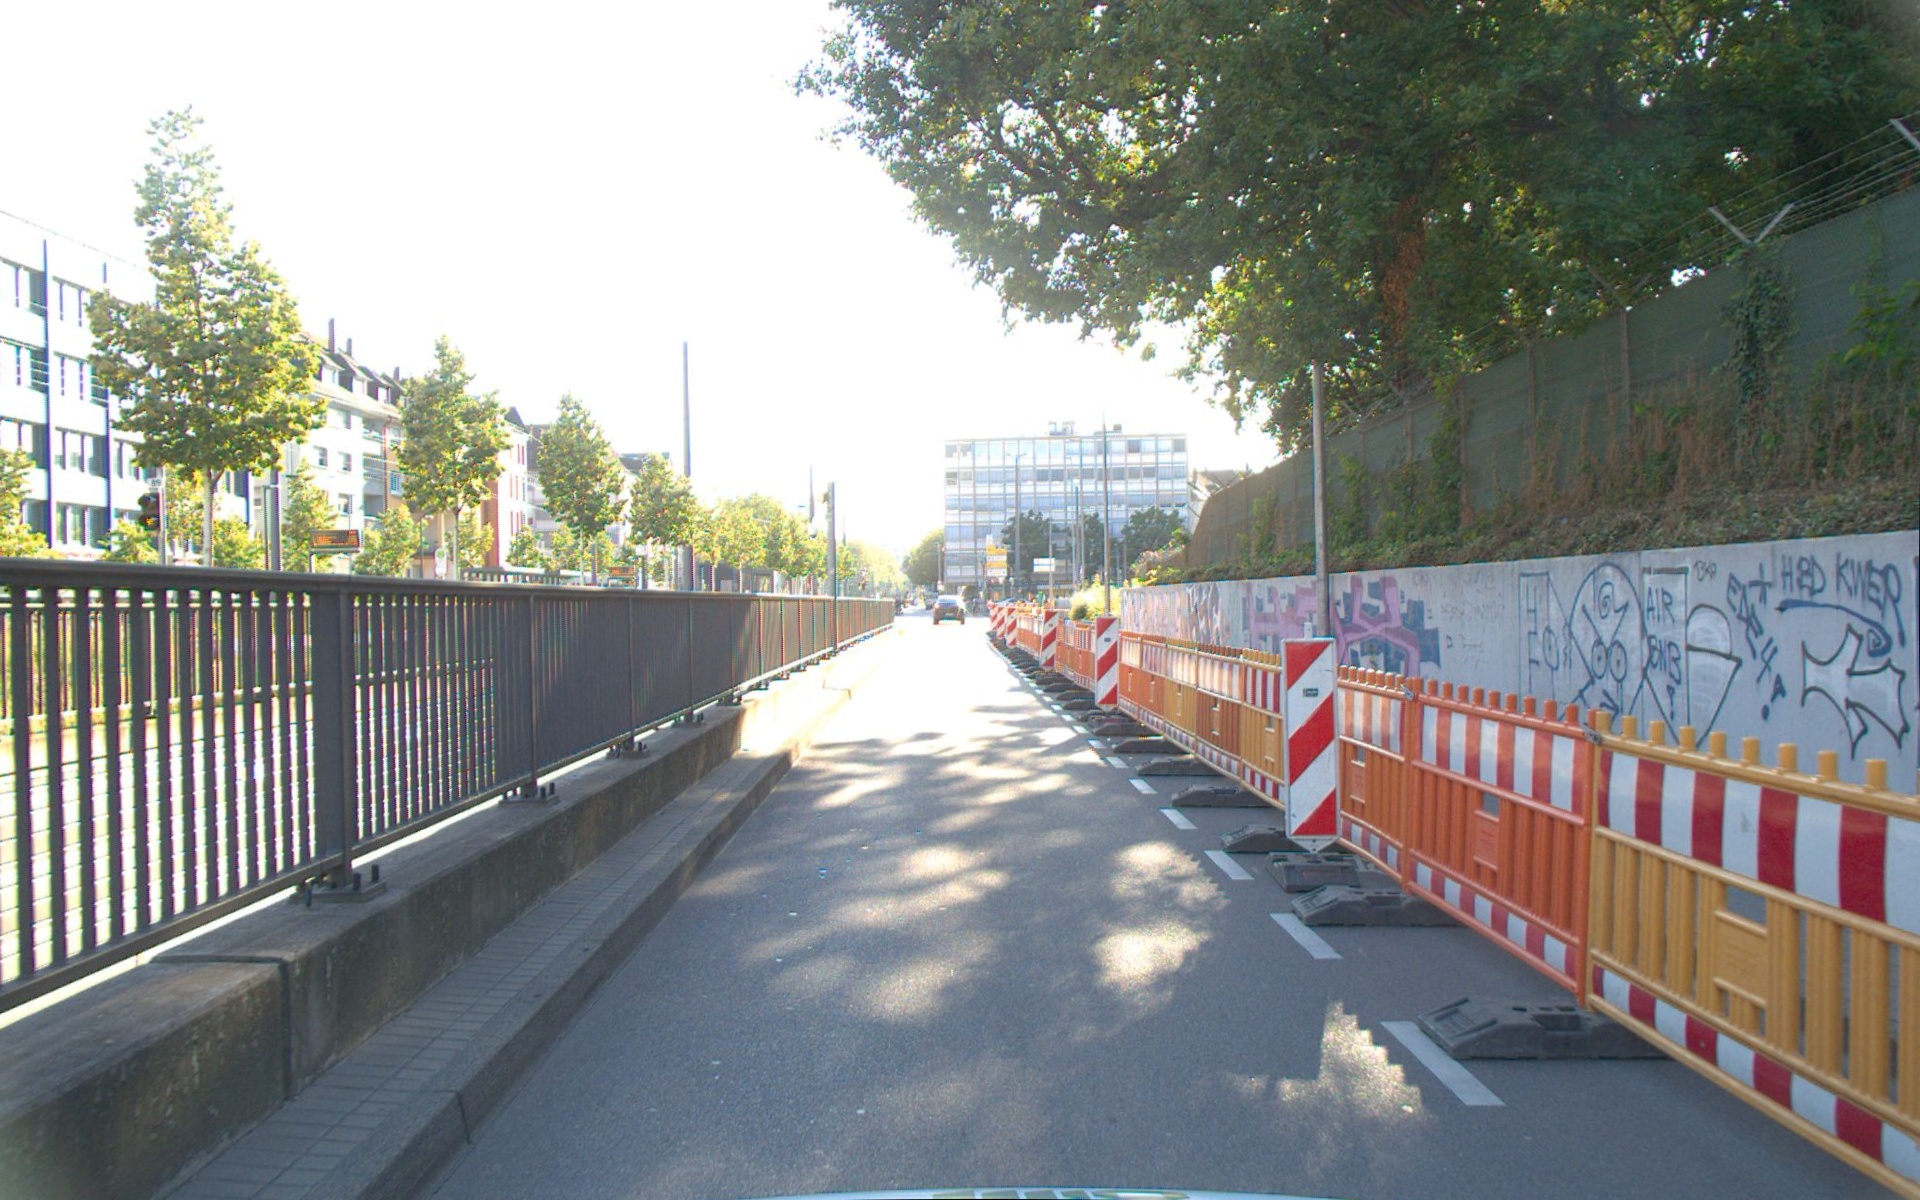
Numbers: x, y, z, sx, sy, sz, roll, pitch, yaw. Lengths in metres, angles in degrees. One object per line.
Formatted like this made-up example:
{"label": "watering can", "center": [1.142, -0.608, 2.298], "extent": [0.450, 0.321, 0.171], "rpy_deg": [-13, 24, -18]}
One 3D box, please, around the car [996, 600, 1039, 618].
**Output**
{"label": "car", "center": [5.451, 0.892, 157.012], "extent": [3.902, 1.669, 2.001], "rpy_deg": [0, -1, 7]}

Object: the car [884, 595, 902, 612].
{"label": "car", "center": [-7.541, 0.408, 185.712], "extent": [1.953, 1.646, 4.000], "rpy_deg": [-1, 2, -2]}

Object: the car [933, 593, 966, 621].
{"label": "car", "center": [-0.617, 0.428, 102.525], "extent": [1.964, 1.688, 4.000], "rpy_deg": [1, -1, 0]}

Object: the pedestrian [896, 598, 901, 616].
{"label": "pedestrian", "center": [-5.619, 0.659, 150.910], "extent": [0.272, 1.602, 0.436], "rpy_deg": [1, -1, -27]}

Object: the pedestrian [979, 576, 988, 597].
{"label": "pedestrian", "center": [2.455, -1.417, 174.873], "extent": [0.873, 2.149, 0.718], "rpy_deg": [-1, 1, 4]}
